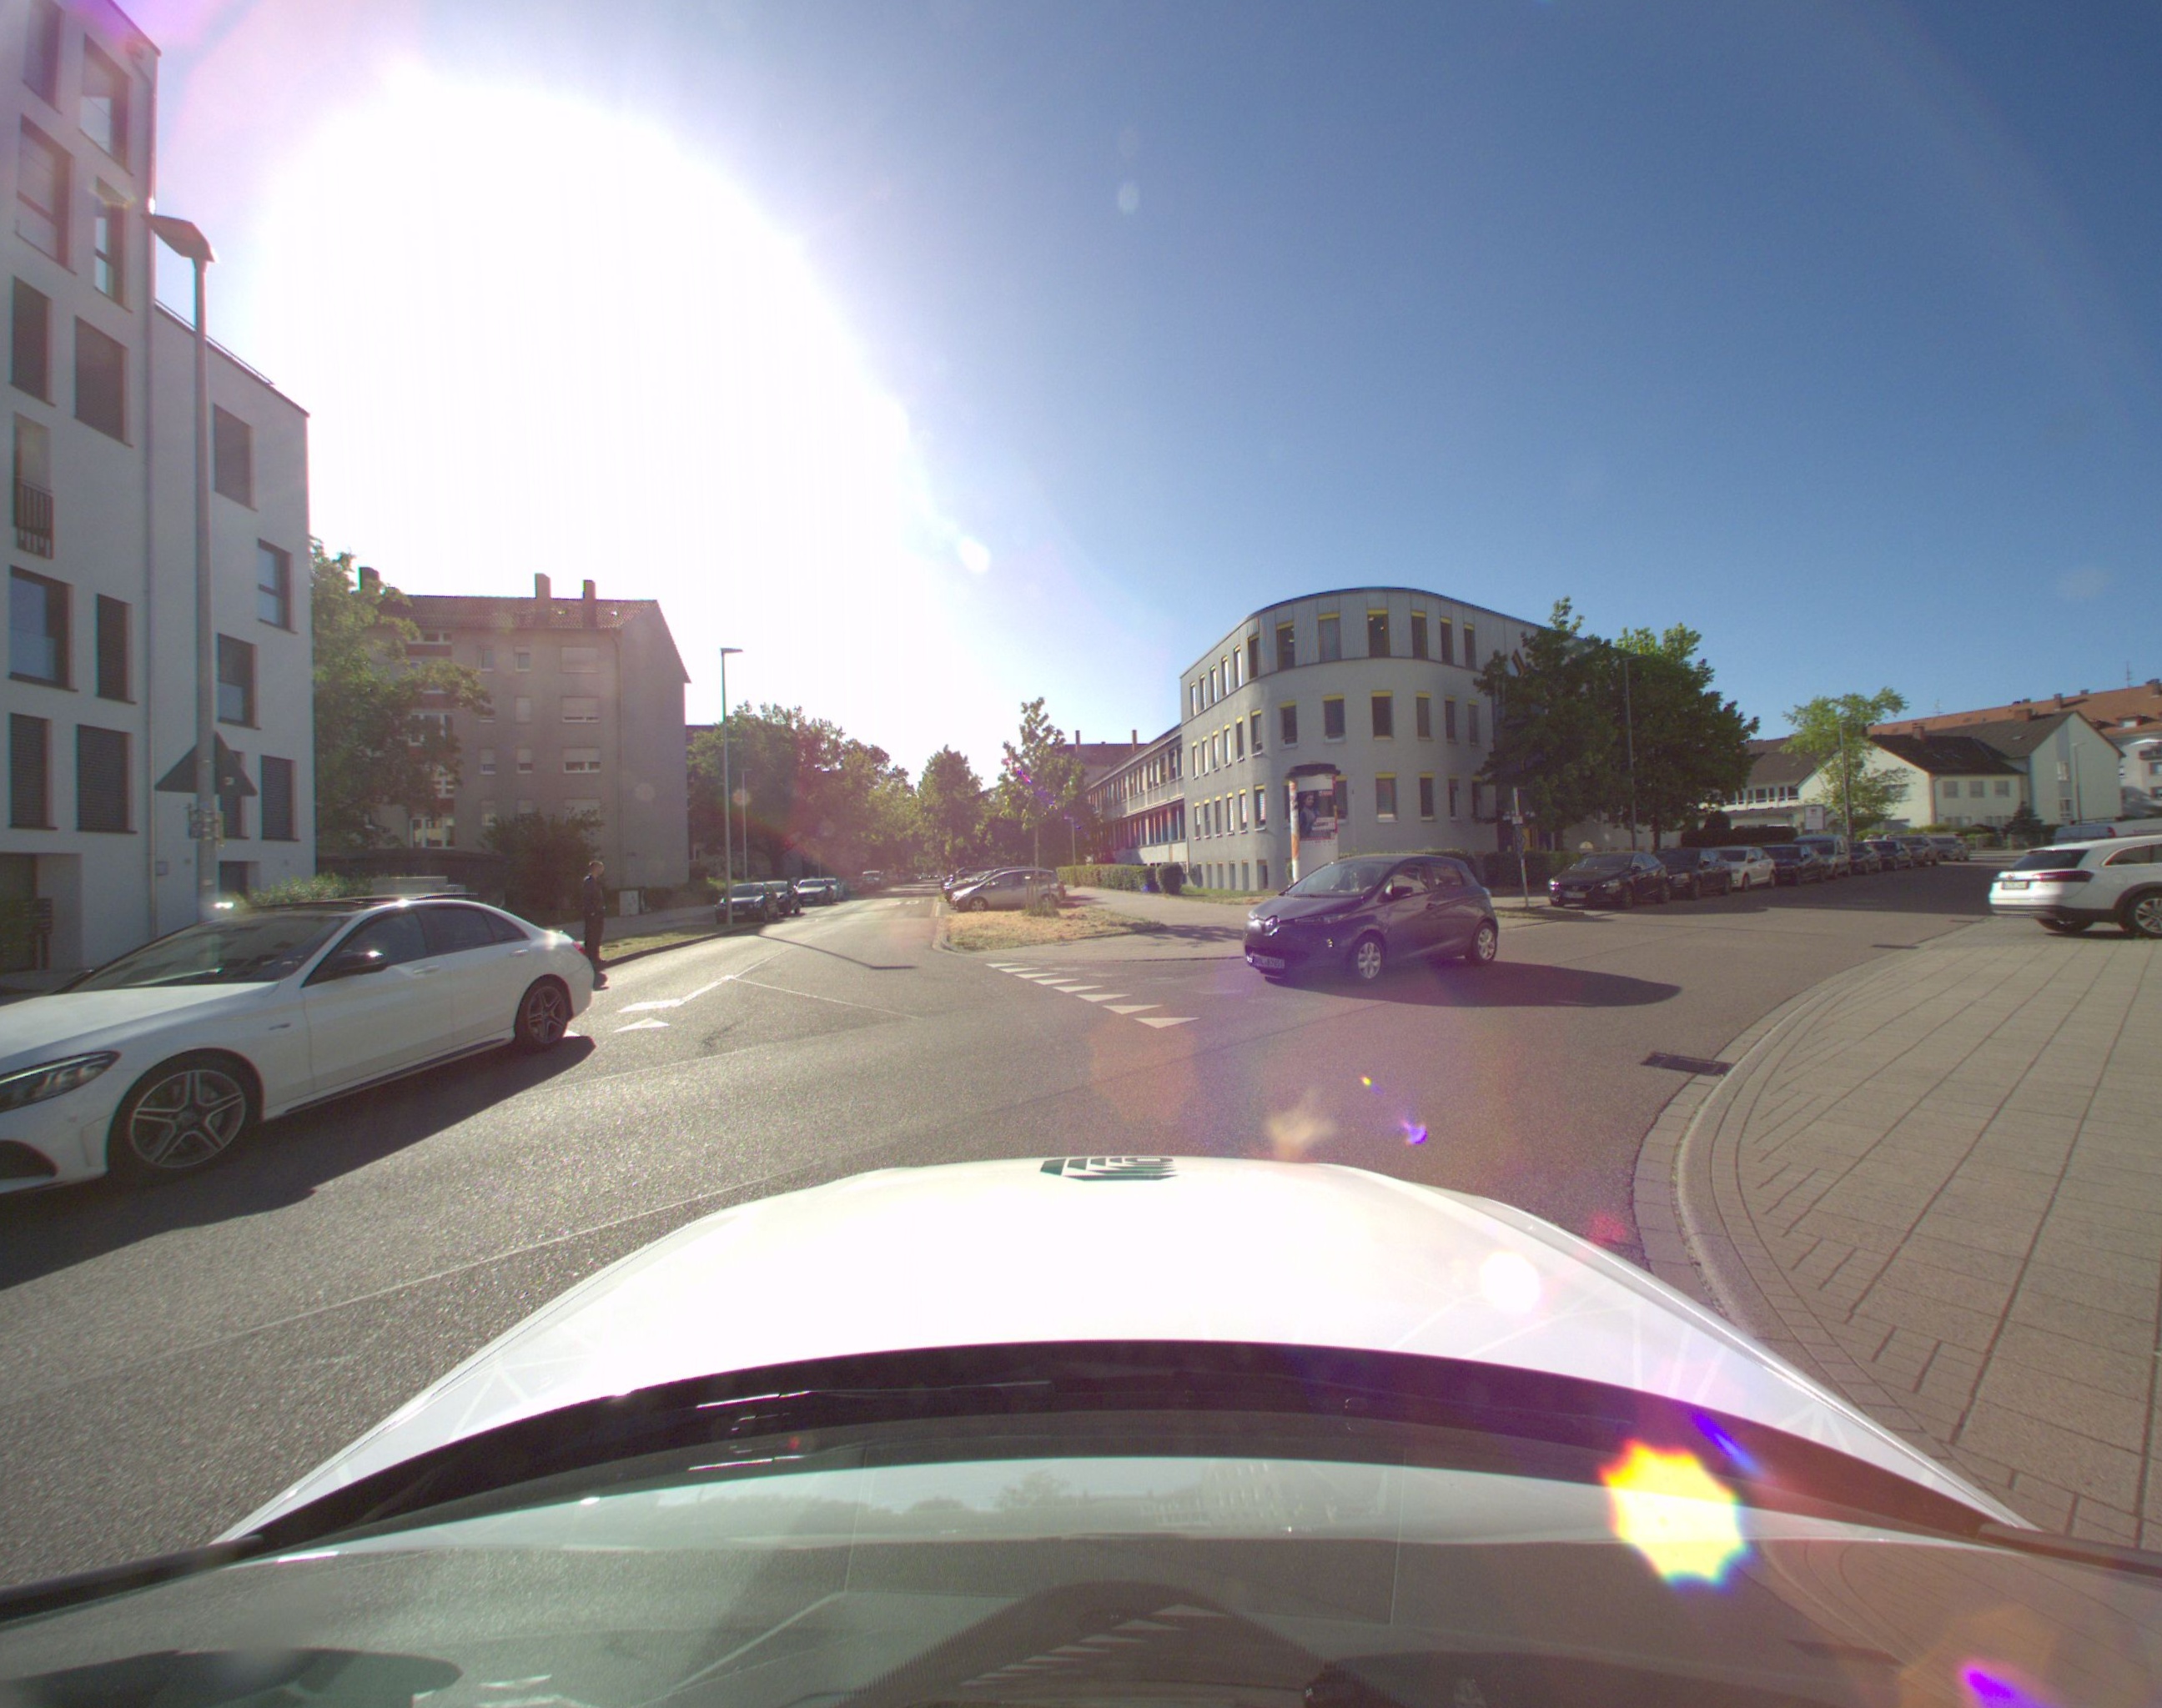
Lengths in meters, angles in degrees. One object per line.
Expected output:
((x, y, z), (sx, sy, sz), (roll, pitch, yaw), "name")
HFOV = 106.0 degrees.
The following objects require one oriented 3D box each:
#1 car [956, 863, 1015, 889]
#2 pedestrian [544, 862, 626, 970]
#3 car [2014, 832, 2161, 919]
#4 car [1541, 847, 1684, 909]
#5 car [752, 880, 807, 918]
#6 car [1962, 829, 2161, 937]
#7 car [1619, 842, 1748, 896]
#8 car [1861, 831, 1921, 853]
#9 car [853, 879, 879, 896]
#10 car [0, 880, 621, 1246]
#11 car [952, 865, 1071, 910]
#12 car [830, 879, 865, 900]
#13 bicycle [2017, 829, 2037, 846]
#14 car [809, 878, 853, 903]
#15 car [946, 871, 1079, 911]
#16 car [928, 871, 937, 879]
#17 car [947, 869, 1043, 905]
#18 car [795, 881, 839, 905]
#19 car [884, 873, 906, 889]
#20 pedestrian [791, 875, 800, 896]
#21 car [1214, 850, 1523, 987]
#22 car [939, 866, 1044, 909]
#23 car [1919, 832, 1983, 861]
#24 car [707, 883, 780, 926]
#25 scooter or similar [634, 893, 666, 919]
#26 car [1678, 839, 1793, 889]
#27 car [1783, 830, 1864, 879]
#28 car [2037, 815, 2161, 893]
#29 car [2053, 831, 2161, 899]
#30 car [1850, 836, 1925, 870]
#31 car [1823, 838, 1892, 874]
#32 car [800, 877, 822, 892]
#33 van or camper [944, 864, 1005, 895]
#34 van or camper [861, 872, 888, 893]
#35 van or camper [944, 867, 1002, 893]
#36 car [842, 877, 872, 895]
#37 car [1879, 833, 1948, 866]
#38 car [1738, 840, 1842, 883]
((-7.399, 1.694, 62.699), (4.282, 1.699, 1.991), (-3, -1, -12), "car")
((-8.338, 1.017, 13.742), (0.871, 1.714, 0.975), (-2, -1, -13), "pedestrian")
((20.108, 0.350, 14.529), (4.122, 1.497, 1.832), (-2, -3, 21), "car")
((14.019, 0.583, 21.404), (4.243, 1.410, 1.775), (-1, -1, -37), "car")
((-12.600, 1.846, 34.189), (1.406, 1.376, 3.986), (-2, -1, -10), "car")
((17.215, 0.322, 12.325), (4.817, 1.464, 1.983), (-5, -2, 20), "car")
((18.083, 0.425, 24.396), (4.400, 1.479, 1.893), (-1, -1, -37), "car")
((62.660, -0.895, 63.023), (3.180, 1.556, 1.798), (0, -2, -12), "car")
((-19.279, 3.004, 73.165), (1.842, 1.398, 3.987), (-2, -2, -9), "car")
((-5.592, 1.059, 5.904), (1.880, 1.504, 4.635), (-4, -1, -2), "car")
((-2.560, 1.202, 29.504), (4.092, 1.492, 1.721), (-1, -2, -13), "car")
((-16.352, 2.465, 57.153), (1.842, 1.398, 3.987), (-2, -2, -9), "car")
((75.775, -1.324, 65.252), (1.930, 1.250, 0.454), (1, -2, -23), "bicycle")
((-15.282, 2.224, 49.928), (1.993, 1.398, 3.987), (-2, -2, -9), "car")
((-2.671, 1.396, 31.542), (4.876, 1.274, 1.720), (-2, -2, -14), "car")
((-33.991, 4.862, 186.898), (1.994, 1.747, 3.986), (-2, -1, -10), "car")
((-3.979, 1.503, 37.400), (4.206, 1.596, 1.992), (0, -2, -12), "car")
((-14.263, 2.071, 44.137), (1.629, 1.234, 4.179), (0, -2, -9), "car")
((-24.247, 3.560, 106.412), (1.988, 2.014, 3.997), (0, -2, -2), "car")
((-23.457, 2.593, 66.876), (0.635, 1.664, 0.696), (-2, -1, -15), "pedestrian")
((3.935, 0.740, 10.913), (4.155, 1.504, 1.823), (0, -2, -35), "car")
((-3.829, 1.417, 34.575), (4.282, 1.765, 1.991), (0, -2, -12), "car")
((51.557, -0.484, 48.243), (4.940, 1.534, 1.978), (-2, -1, -36), "car")
((-12.111, 1.783, 29.460), (1.668, 1.420, 3.984), (0, -2, -11), "car")
((-18.967, 2.286, 35.895), (0.530, 1.046, 1.867), (-2, -1, -5), "scooter or similar")
((22.030, 0.320, 27.338), (4.646, 1.530, 1.893), (-1, -1, -37), "car")
((30.304, -0.011, 33.196), (4.362, 1.839, 1.674), (-2, -1, -38), "car")
((28.490, -0.061, 21.009), (4.482, 1.898, 2.057), (-4, -4, 14), "car")
((25.837, 0.182, 18.793), (3.948, 1.490, 1.625), (-5, -5, 23), "car")
((38.709, -0.072, 39.061), (4.457, 1.465, 1.713), (-2, -1, -34), "car")
((34.260, 0.072, 35.915), (4.019, 1.440, 1.585), (-1, -1, -38), "car")
((-23.247, 2.618, 70.291), (1.273, 1.225, 2.656), (-2, -1, -7), "car")
((-7.201, 1.737, 54.802), (3.987, 2.014, 1.993), (0, -2, -10), "van or camper")
((-20.124, 2.771, 79.393), (1.991, 2.014, 3.990), (0, -2, -7), "van or camper")
((-7.663, 1.830, 57.566), (3.987, 1.772, 1.993), (0, -2, -10), "van or camper")
((-18.012, 2.587, 65.613), (1.995, 1.408, 3.892), (0, -2, -12), "car")
((43.202, -0.235, 42.247), (4.439, 1.586, 1.707), (-2, -1, -34), "car")
((26.218, 0.247, 30.063), (4.629, 1.439, 1.720), (-1, -1, -34), "car")
